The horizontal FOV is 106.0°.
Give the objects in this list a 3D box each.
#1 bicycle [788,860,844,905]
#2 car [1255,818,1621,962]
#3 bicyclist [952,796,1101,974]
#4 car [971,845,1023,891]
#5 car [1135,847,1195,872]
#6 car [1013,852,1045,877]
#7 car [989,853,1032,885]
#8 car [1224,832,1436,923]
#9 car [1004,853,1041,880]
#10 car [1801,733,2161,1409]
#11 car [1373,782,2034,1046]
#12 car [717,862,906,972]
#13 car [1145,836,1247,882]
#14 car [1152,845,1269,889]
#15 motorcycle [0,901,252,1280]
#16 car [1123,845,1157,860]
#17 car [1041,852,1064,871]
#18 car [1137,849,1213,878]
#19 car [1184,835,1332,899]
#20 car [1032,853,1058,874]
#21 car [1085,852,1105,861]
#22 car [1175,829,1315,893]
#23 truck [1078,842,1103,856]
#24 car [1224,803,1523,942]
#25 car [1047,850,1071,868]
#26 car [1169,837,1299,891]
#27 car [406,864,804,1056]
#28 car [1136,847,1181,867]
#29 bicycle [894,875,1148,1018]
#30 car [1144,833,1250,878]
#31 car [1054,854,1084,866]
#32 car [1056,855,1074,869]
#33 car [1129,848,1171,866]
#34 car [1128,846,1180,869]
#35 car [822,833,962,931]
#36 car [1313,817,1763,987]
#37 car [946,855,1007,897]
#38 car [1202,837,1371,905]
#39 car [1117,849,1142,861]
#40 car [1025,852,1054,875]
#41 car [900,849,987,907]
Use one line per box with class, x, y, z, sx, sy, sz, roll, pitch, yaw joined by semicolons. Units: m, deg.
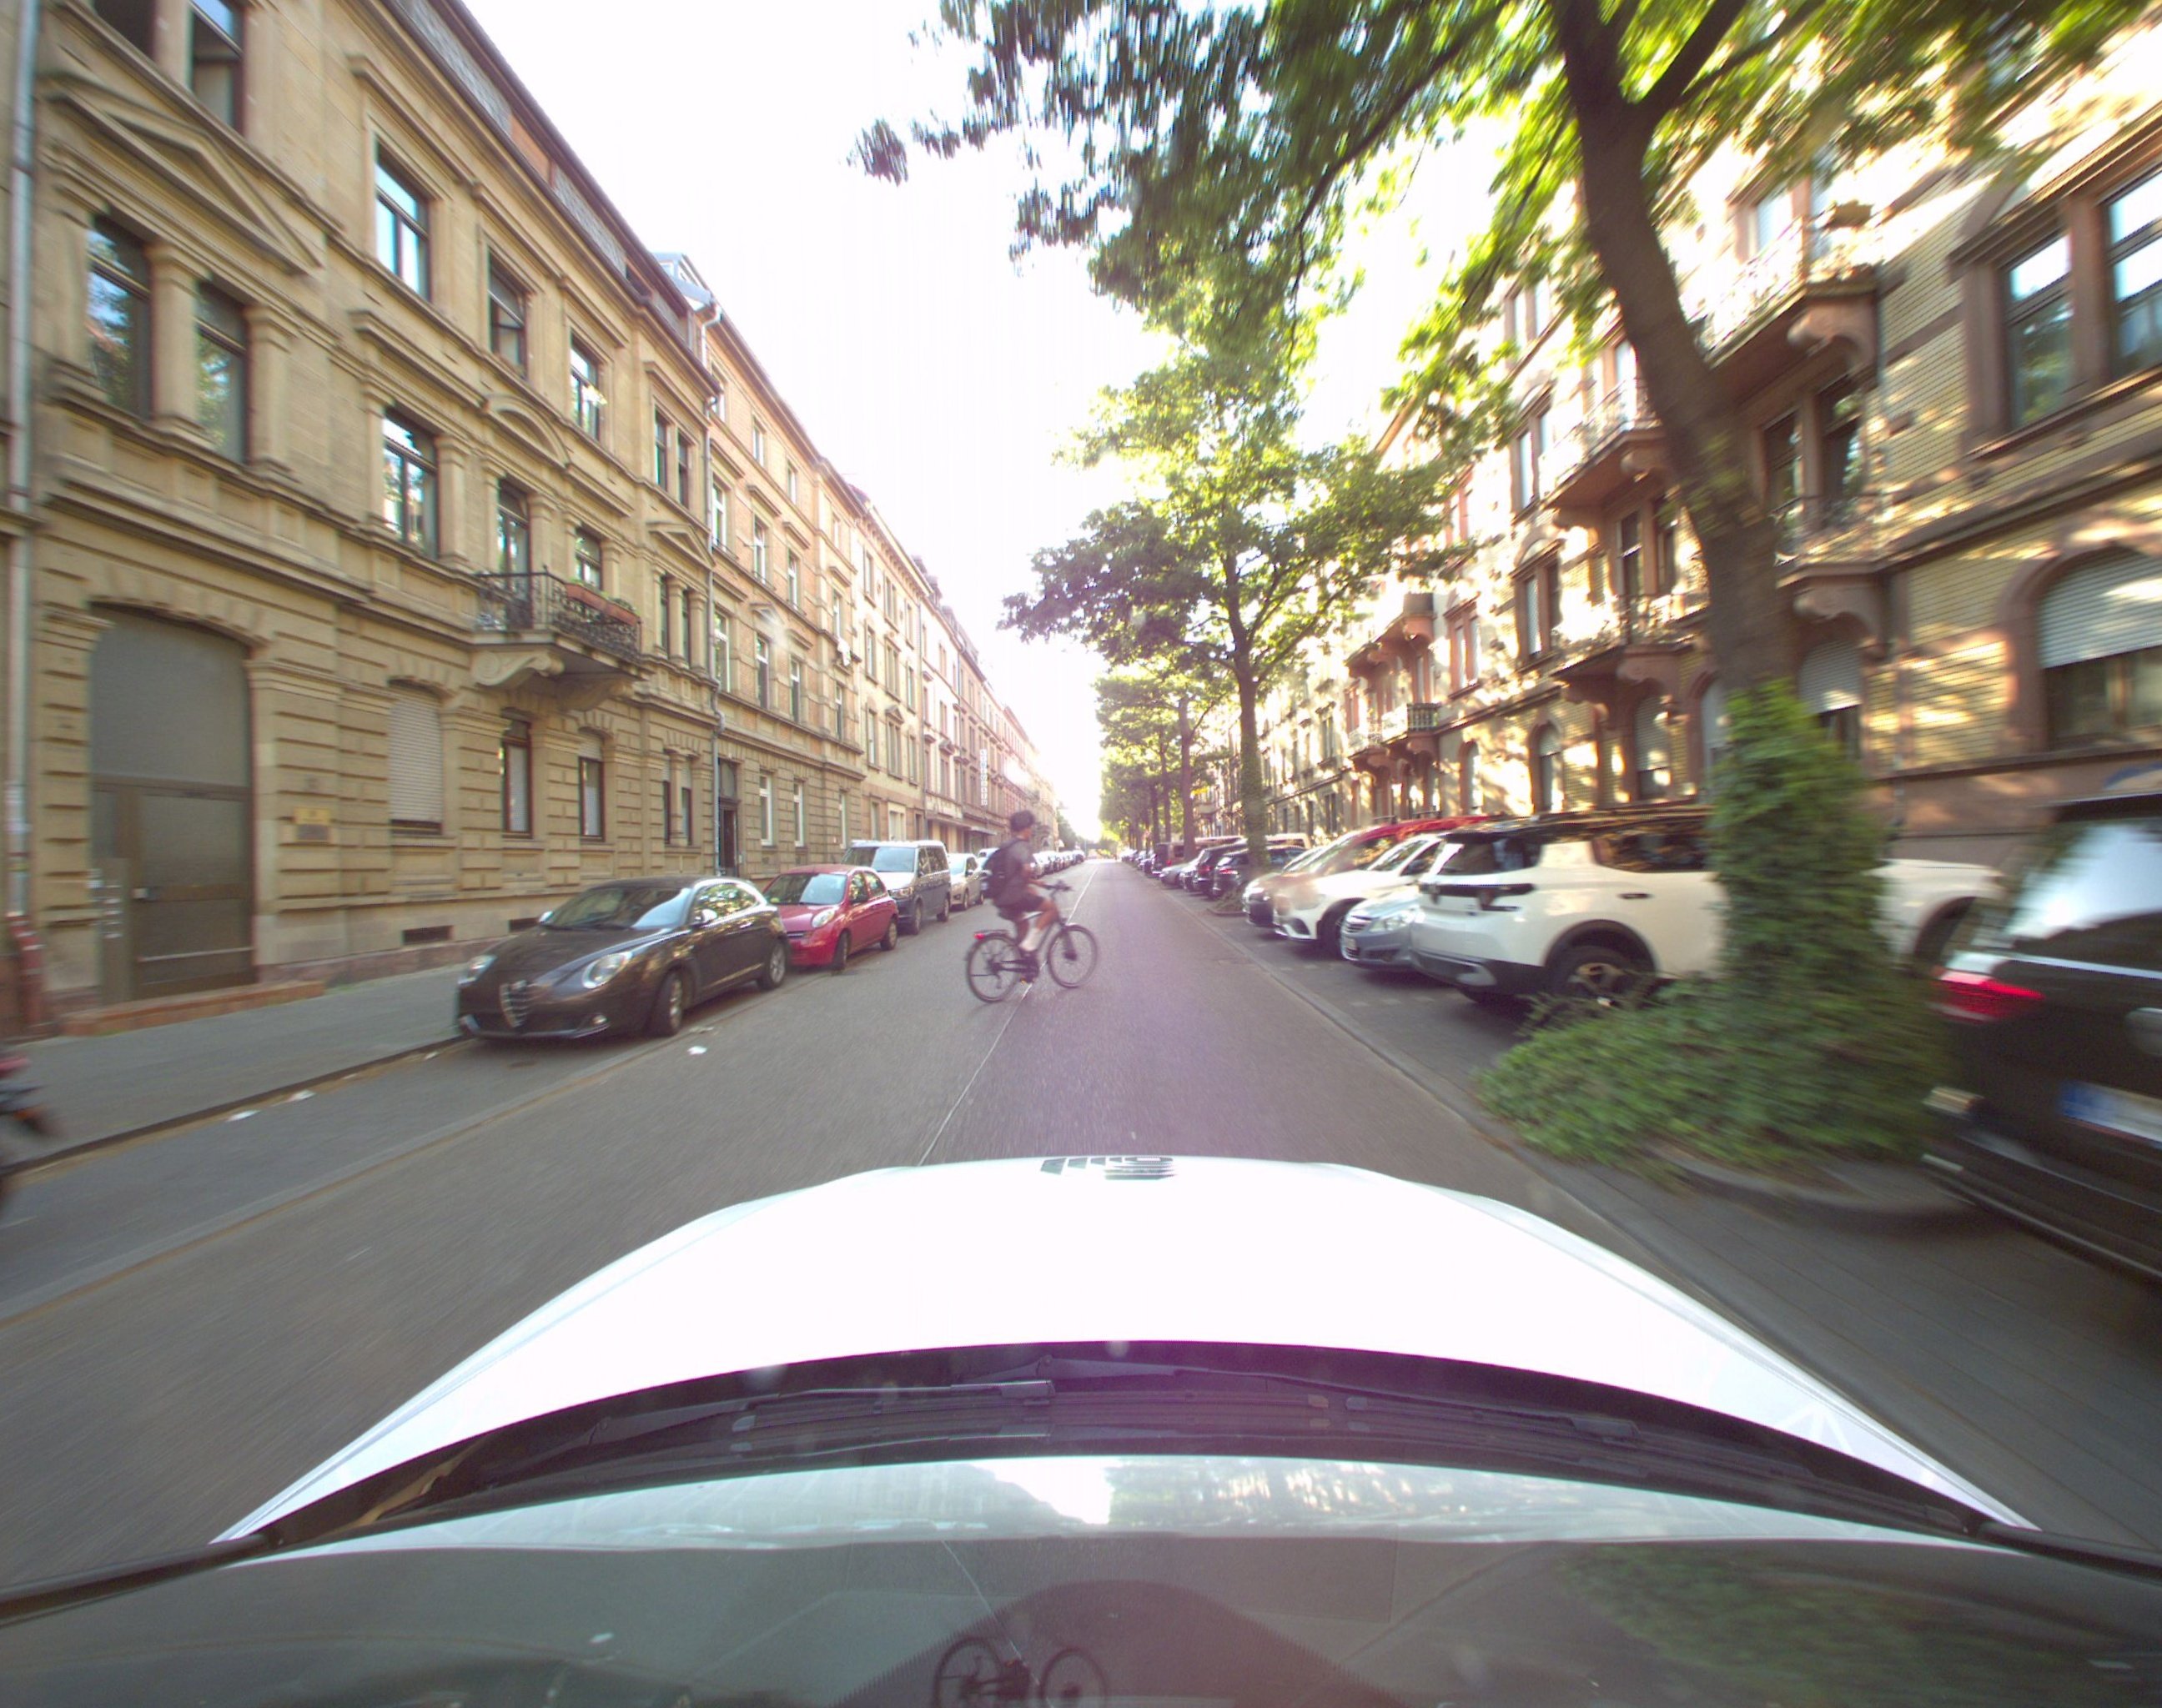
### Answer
bicycle;-8.067;0.833;24.945;0.738;1.255;2.827;-1;0;1
car;4.877;0.452;11.585;4.329;1.556;1.850;-4;1;0
bicyclist;-0.586;0.302;8.938;0.986;1.789;1.215;-2;0;39
car;-3.642;0.574;36.069;1.753;1.842;4.529;-2;0;0
car;5.817;0.357;56.566;3.840;1.479;1.717;-4;0;-2
car;-3.290;0.650;52.091;1.753;1.473;4.059;-2;0;0
car;-3.510;0.710;41.120;1.753;1.473;4.059;-2;0;0
car;4.980;0.438;16.618;3.652;1.455;1.847;-4;1;-5
car;-3.342;0.695;47.220;1.753;1.473;4.059;-2;0;0
car;4.647;0.400;1.868;4.167;1.628;1.840;-4;-1;4
car;4.756;0.429;6.700;3.998;1.628;1.805;-4;-1;0
car;-4.114;0.882;13.048;1.585;1.475;3.703;0;0;4
car;5.314;0.233;37.638;4.233;1.795;1.824;-4;0;-18
car;5.031;0.482;32.001;4.212;1.403;1.833;-4;0;-4
motorcycle;-4.591;0.921;2.674;1.063;1.370;2.606;-1;0;0
car;7.120;-0.154;98.653;3.837;1.573;1.718;-4;0;0
car;-2.401;0.615;69.599;1.753;1.473;4.059;-2;0;0
car;5.075;0.502;44.241;3.840;1.293;1.717;-4;0;-2
car;5.179;0.383;24.206;3.996;1.607;1.734;-4;-1;1
car;-2.751;0.725;63.106;1.753;1.473;4.059;-2;0;0
car;3.009;0.472;174.902;3.963;1.859;1.756;-1;0;9
car;5.342;0.224;26.913;4.207;1.776;1.835;-4;0;0
truck;2.673;-1.355;235.098;7.276;3.950;2.411;0;0;-35
car;4.934;0.275;14.167;4.431;1.924;1.849;-4;1;-1
car;-1.995;0.499;75.615;1.987;1.486;4.000;-2;-2;1
car;5.509;0.349;29.616;4.216;1.610;1.831;-4;0;-6
car;-4.532;0.882;8.604;1.752;1.501;4.060;0;0;1
car;7.201;0.261;76.250;3.846;1.573;1.714;-4;0;-7
bicycle;-0.531;0.894;8.953;0.986;1.158;2.942;-2;1;39
car;5.836;0.062;41.367;5.039;1.925;1.836;-4;0;1
car;-1.518;0.819;106.085;1.974;1.486;4.025;-3;-2;34
car;-1.848;0.956;95.753;1.987;1.486;4.000;-2;-2;1
car;6.877;0.281;80.903;3.846;1.573;1.714;-4;0;-7
car;5.945;0.302;66.527;3.846;1.573;1.714;-4;0;-7
car;-4.125;0.555;18.733;1.825;1.943;5.262;0;0;2
car;4.892;0.497;9.171;3.996;1.434;1.795;-4;-1;1
car;-3.889;0.769;30.876;1.753;1.467;4.000;0;0;0
car;5.336;0.435;21.537;3.996;1.467;1.734;-4;-1;1
car;7.629;0.136;128.966;3.837;1.573;1.718;-4;0;0
car;-2.949;0.663;58.340;1.753;1.473;4.059;-2;0;0
car;-4.056;0.652;24.673;1.747;1.608;4.386;0;0;2
